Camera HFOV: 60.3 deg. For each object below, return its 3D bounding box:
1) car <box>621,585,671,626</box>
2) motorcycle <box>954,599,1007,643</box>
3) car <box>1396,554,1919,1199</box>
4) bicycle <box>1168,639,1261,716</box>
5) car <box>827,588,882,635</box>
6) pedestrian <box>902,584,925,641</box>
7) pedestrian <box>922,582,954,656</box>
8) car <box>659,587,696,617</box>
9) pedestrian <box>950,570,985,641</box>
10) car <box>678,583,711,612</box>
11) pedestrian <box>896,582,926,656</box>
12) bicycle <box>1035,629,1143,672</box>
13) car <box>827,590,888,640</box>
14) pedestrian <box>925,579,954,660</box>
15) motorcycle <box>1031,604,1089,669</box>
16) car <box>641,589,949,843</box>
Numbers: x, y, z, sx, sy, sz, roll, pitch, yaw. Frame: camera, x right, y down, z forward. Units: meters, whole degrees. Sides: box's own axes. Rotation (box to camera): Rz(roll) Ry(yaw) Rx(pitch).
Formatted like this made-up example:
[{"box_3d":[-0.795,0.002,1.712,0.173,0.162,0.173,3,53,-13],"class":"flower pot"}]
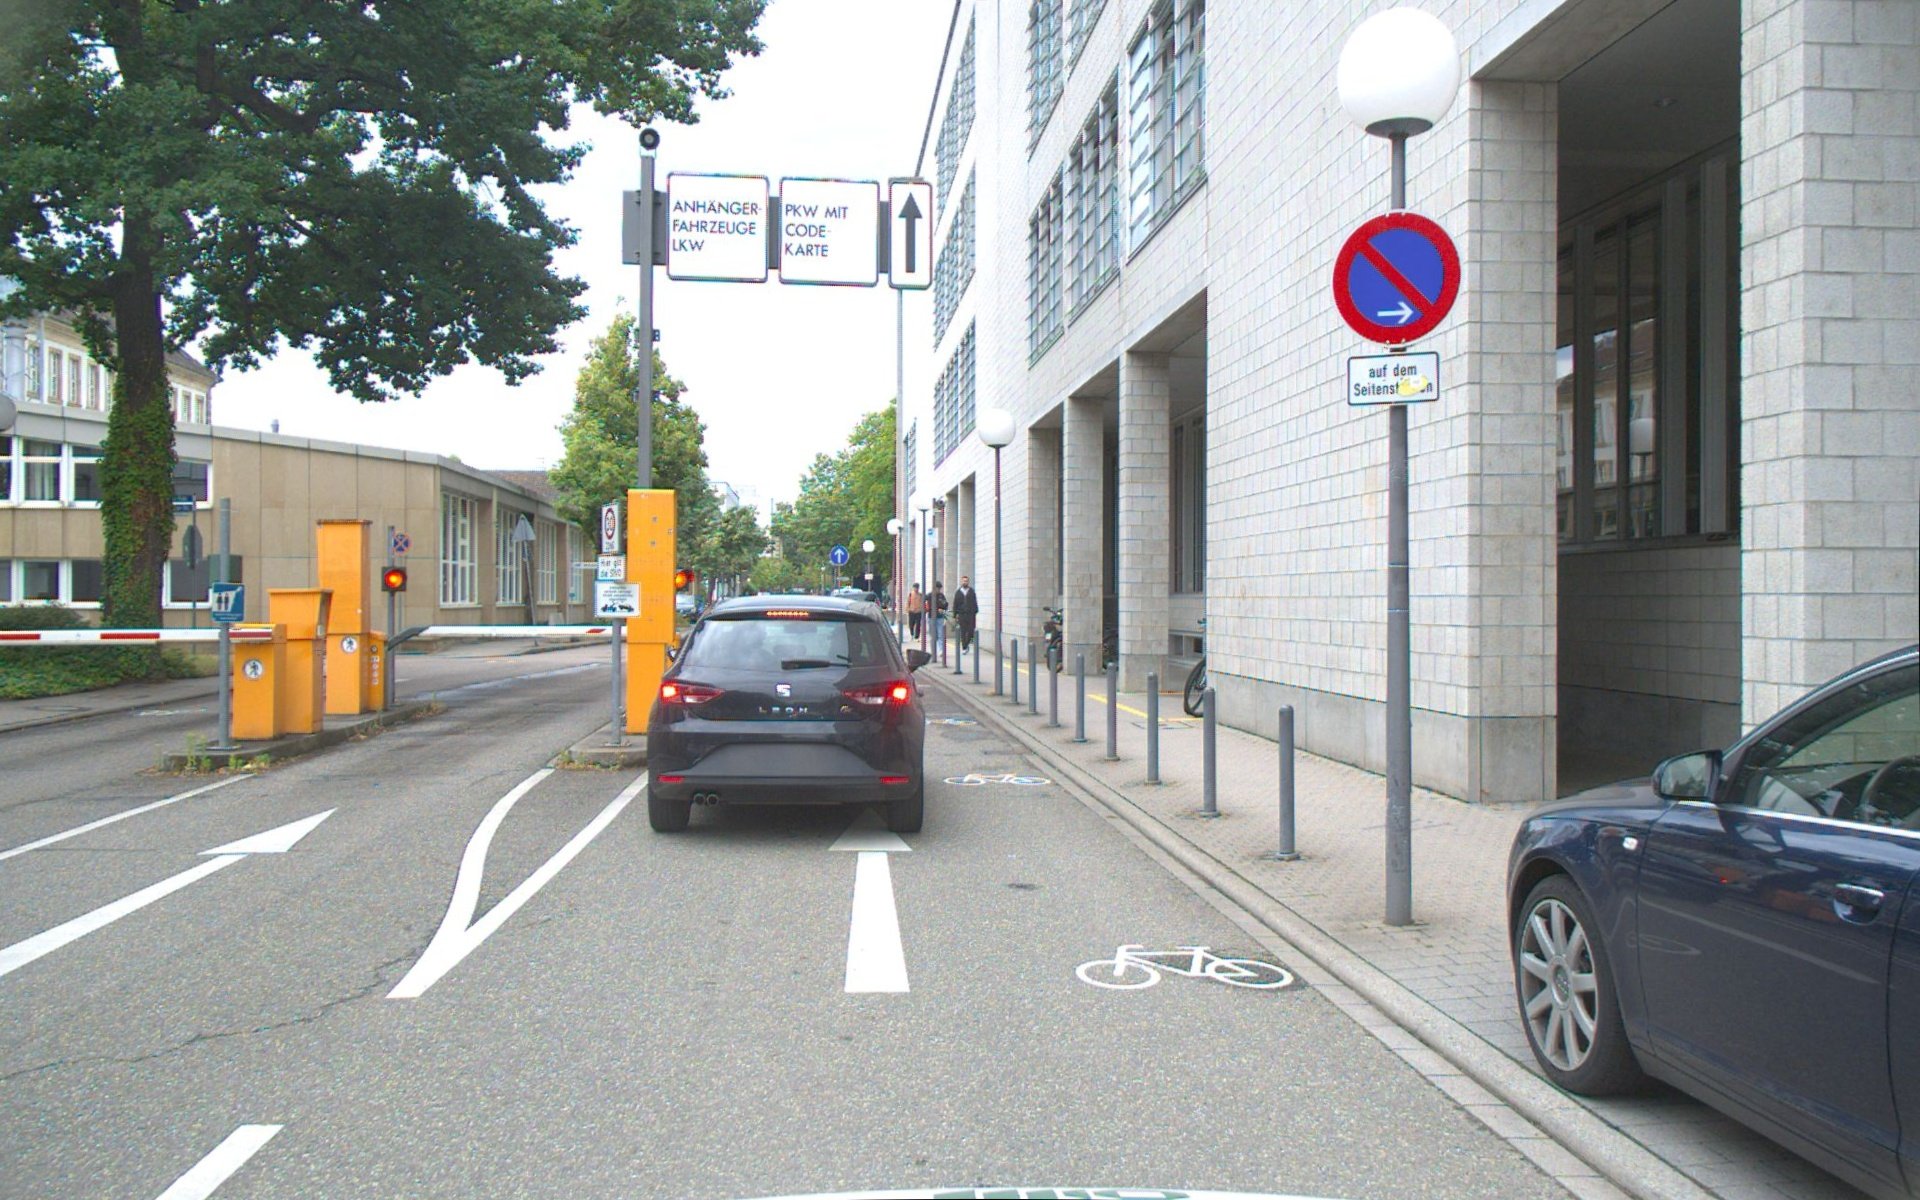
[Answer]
[{"box_3d":[-13.086,0.205,69.107,1.736,1.629,3.995,1,0,-6],"class":"car"},{"box_3d":[0.632,0.611,49.480,0.743,1.168,2.664,2,2,19],"class":"motorcycle"},{"box_3d":[2.819,0.647,3.837,1.955,1.477,4.917,0,0,-5],"class":"car"},{"box_3d":[3.061,0.902,19.733,0.453,0.764,2.294,-4,-1,24],"class":"bicycle"},{"box_3d":[-4.022,0.404,62.479,1.955,1.651,4.423,-1,0,-5],"class":"car"},{"box_3d":[-1.443,0.379,50.996,0.682,1.744,0.489,1,0,-1],"class":"pedestrian"},{"box_3d":[-0.535,0.440,39.579,0.676,1.728,0.587,1,2,-6],"class":"pedestrian"},{"box_3d":[-15.651,0.117,91.732,1.736,1.629,3.995,1,0,-6],"class":"car"},{"box_3d":[0.180,0.128,40.774,0.714,1.728,0.587,1,2,-11],"class":"pedestrian"},{"box_3d":[-15.598,-0.145,97.260,1.736,1.629,3.994,1,0,-7],"class":"car"},{"box_3d":[-1.171,0.455,39.461,0.683,1.744,0.488,1,0,-6],"class":"pedestrian"},{"box_3d":[2.322,0.905,29.806,1.861,0.711,0.492,1,2,-9],"class":"bicycle"},{"box_3d":[-3.625,0.523,57.972,1.955,1.651,4.422,-1,0,-6],"class":"car"},{"box_3d":[-0.446,0.424,36.198,0.599,1.744,0.574,-1,0,-3],"class":"pedestrian"},{"box_3d":[2.008,0.707,32.901,0.554,1.168,2.218,2,2,19],"class":"motorcycle"},{"box_3d":[-1.140,0.658,11.547,1.748,1.444,4.125,1,0,-6],"class":"car"}]
